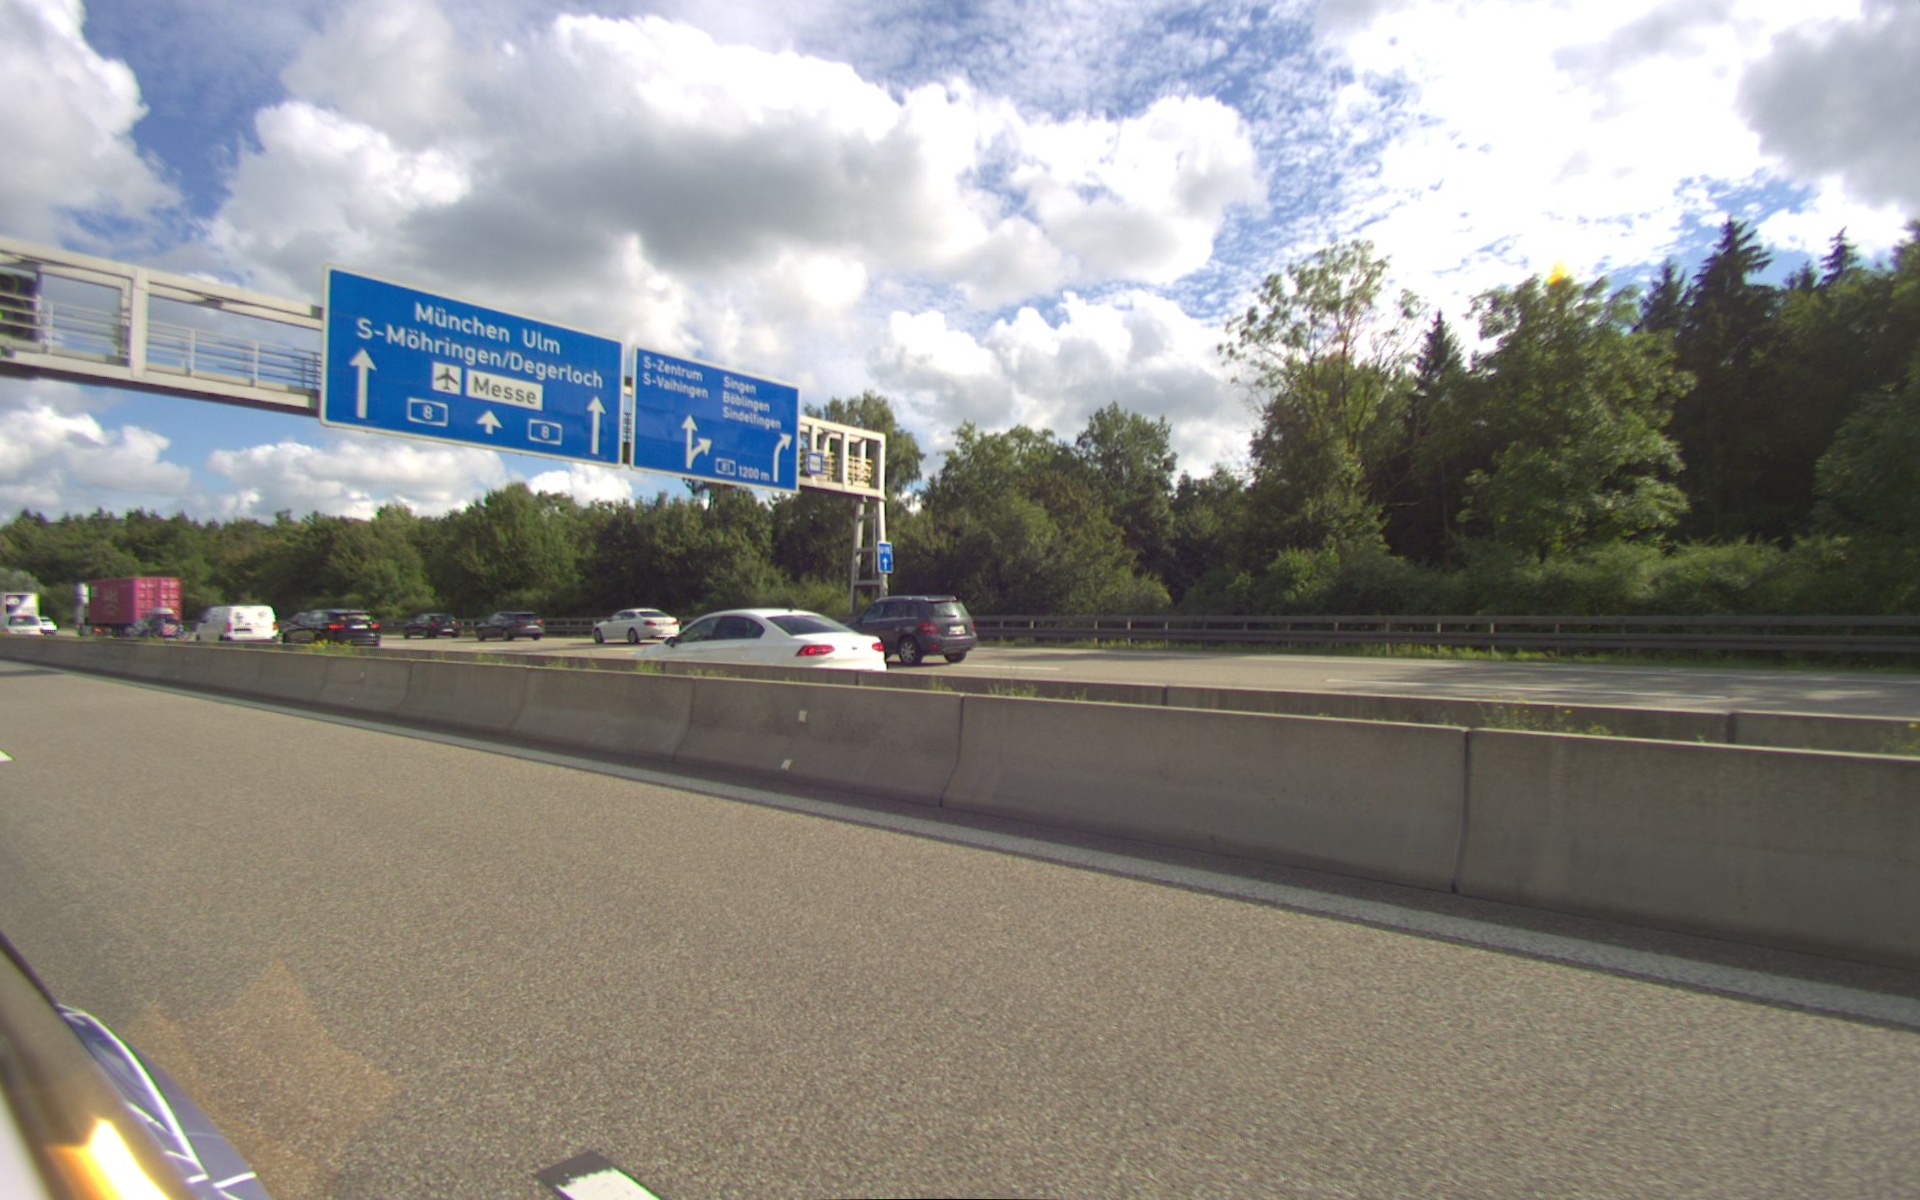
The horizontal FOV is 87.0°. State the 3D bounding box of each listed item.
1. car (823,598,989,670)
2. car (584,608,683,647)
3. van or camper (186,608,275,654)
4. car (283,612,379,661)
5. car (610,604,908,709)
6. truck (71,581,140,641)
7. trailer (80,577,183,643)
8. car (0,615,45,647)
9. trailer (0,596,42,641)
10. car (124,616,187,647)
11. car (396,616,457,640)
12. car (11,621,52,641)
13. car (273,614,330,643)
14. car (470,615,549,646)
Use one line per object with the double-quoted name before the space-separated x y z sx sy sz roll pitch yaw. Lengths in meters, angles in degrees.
"car" -1.448 0.820 25.590 1.647 1.652 4.482 0 -1 -44
"car" -14.116 1.168 43.587 5.131 1.557 1.796 -1 -1 43
"van or camper" -31.579 1.320 43.768 5.149 1.864 1.844 -1 -1 39
"car" -22.860 1.289 36.718 4.495 1.642 1.681 -1 -1 41
"car" -3.136 0.764 15.075 4.878 1.320 1.705 -1 -1 40
"truck" -61.642 0.812 72.968 5.758 4.138 2.712 -1 -1 39
"trailer" -56.457 0.704 68.783 13.400 4.138 2.712 -1 -1 39
"car" -51.912 1.686 55.640 4.515 1.661 1.752 -1 -1 40
"trailer" -94.170 1.838 99.360 14.126 4.137 3.288 -1 -1 36
"car" -41.752 1.613 52.508 4.681 1.540 1.681 -1 -1 40
"car" -30.727 1.616 58.245 4.179 1.298 1.684 -1 -1 40
"car" -79.510 2.621 86.650 5.038 1.630 1.776 -1 -1 38
"car" -39.153 1.665 60.150 4.145 1.625 1.797 -1 -1 41
"car" -22.600 1.513 50.699 4.703 1.451 1.684 -1 -1 40
